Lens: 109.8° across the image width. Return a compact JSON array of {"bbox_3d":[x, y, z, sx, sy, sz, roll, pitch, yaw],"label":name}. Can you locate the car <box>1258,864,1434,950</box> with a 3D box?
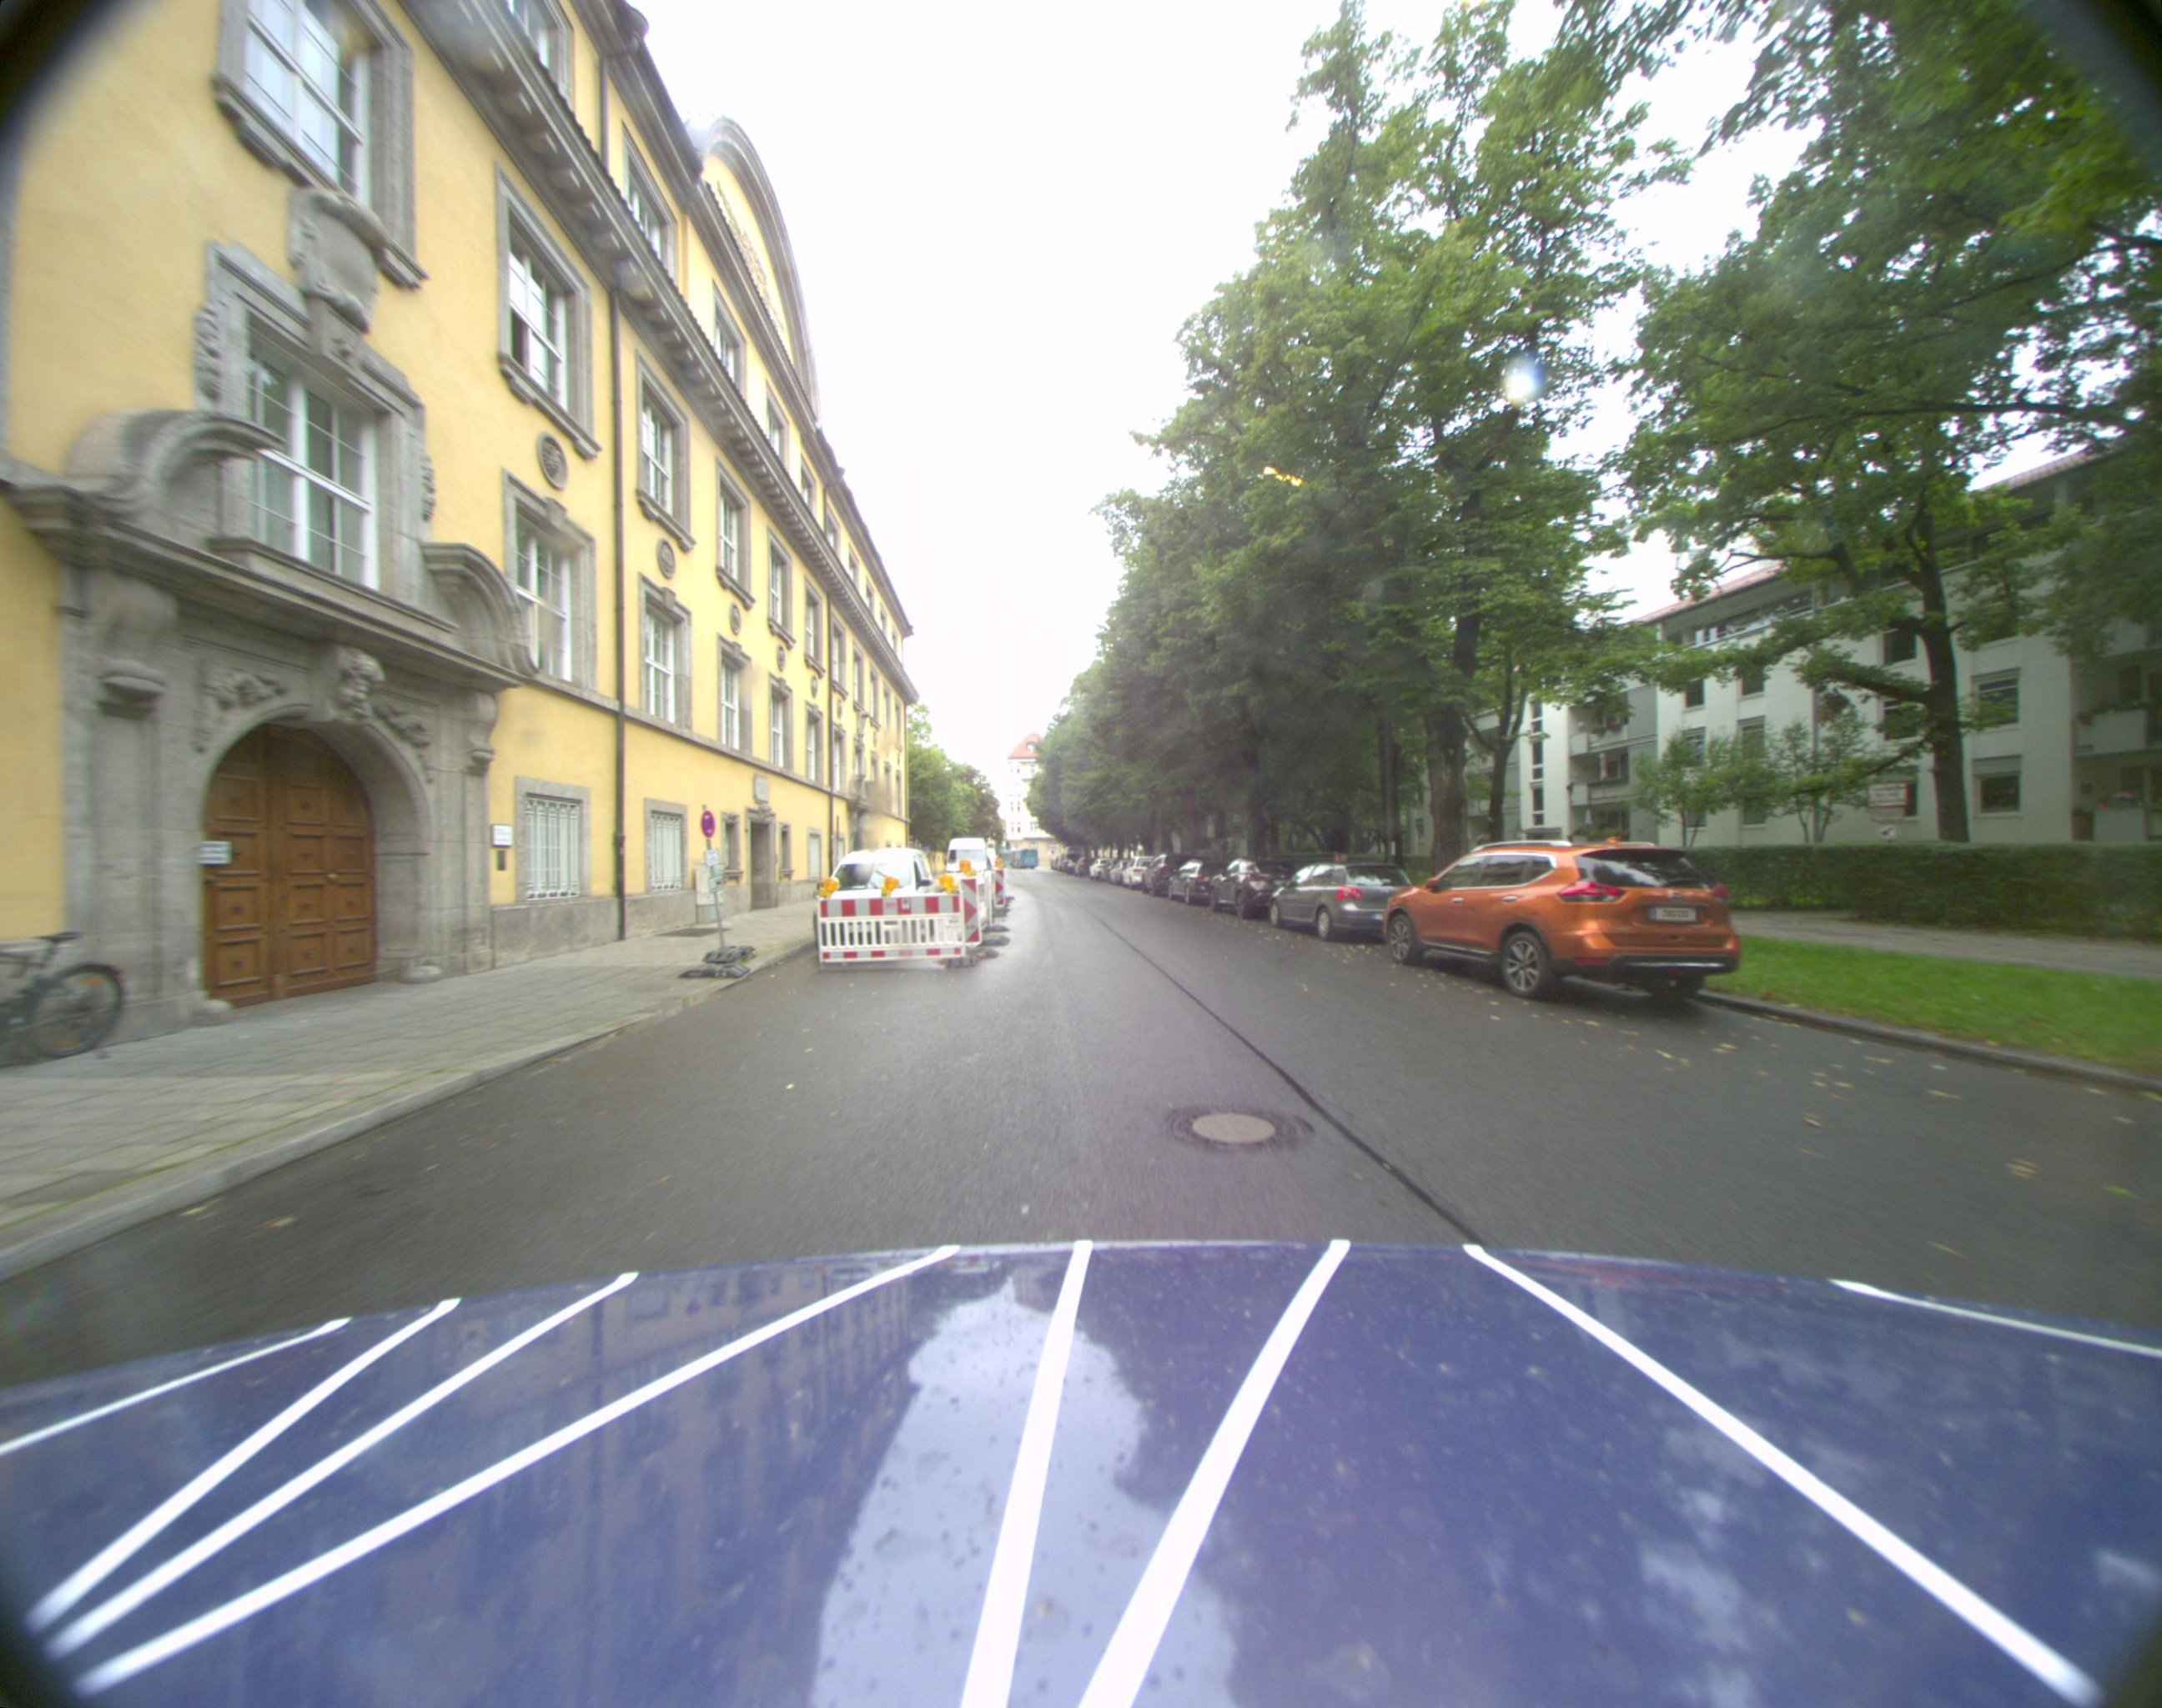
[{"bbox_3d":[5.103,0.939,15.290,1.732,1.414,4.249,0,0,-5],"label":"car"}]

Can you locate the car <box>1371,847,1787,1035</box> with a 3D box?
[{"bbox_3d":[5.508,0.788,9.348,1.878,1.718,4.639,0,0,-3],"label":"car"}]

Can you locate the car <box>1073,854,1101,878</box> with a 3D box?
[{"bbox_3d":[0.438,0.961,63.010,1.789,1.866,4.545,1,0,-6],"label":"car"}]

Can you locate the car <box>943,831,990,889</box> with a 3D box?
[{"bbox_3d":[-5.747,0.253,38.874,2.061,2.657,7.609,0,0,-6],"label":"car"}]

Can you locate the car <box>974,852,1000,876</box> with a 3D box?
[{"bbox_3d":[-8.018,0.810,64.487,2.020,1.895,5.160,-2,0,-8],"label":"car"}]

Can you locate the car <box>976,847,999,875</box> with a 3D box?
[{"bbox_3d":[-8.776,0.598,71.698,2.102,2.473,5.735,0,1,-6],"label":"car"}]

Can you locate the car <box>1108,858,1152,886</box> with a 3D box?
[{"bbox_3d":[2.742,0.984,43.928,1.815,1.461,4.994,0,0,-5],"label":"car"}]

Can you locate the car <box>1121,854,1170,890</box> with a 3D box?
[{"bbox_3d":[3.185,0.842,38.219,1.770,1.612,4.521,2,0,-3],"label":"car"}]

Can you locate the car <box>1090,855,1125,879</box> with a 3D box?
[{"bbox_3d":[1.855,0.860,54.220,1.789,1.588,4.581,0,0,-6],"label":"car"}]

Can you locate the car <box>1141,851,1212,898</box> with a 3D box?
[{"bbox_3d":[3.846,0.767,31.482,1.999,1.786,4.918,1,0,-4],"label":"car"}]

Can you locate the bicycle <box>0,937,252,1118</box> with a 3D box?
[{"bbox_3d":[-7.481,1.228,5.548,0.682,1.000,2.056,0,1,-4],"label":"bicycle"}]

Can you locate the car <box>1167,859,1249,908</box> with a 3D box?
[{"bbox_3d":[4.209,0.922,25.838,1.723,1.442,4.693,-1,0,-4],"label":"car"}]

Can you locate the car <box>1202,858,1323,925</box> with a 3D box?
[{"bbox_3d":[4.696,0.916,20.389,1.791,1.565,4.484,1,0,-5],"label":"car"}]

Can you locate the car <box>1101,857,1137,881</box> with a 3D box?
[{"bbox_3d":[2.449,0.957,49.320,1.677,1.461,4.101,0,0,-6],"label":"car"}]

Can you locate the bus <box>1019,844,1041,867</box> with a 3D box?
[{"bbox_3d":[-8.273,0.084,121.714,2.868,3.220,18.413,0,1,-6],"label":"bus"}]

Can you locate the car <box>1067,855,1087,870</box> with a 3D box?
[{"bbox_3d":[-0.435,0.805,72.833,1.795,1.429,4.550,0,-1,-2],"label":"car"}]

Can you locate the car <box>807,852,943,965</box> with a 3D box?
[{"bbox_3d":[-3.684,0.864,14.340,1.745,1.740,4.353,0,1,-6],"label":"car"}]

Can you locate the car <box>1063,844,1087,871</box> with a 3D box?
[{"bbox_3d":[-0.705,0.374,84.800,1.951,2.838,6.231,0,1,-7],"label":"car"}]

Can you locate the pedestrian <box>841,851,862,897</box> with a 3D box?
[{"bbox_3d":[-9.153,0.806,30.326,0.702,1.794,0.582,1,1,-5],"label":"pedestrian"}]
